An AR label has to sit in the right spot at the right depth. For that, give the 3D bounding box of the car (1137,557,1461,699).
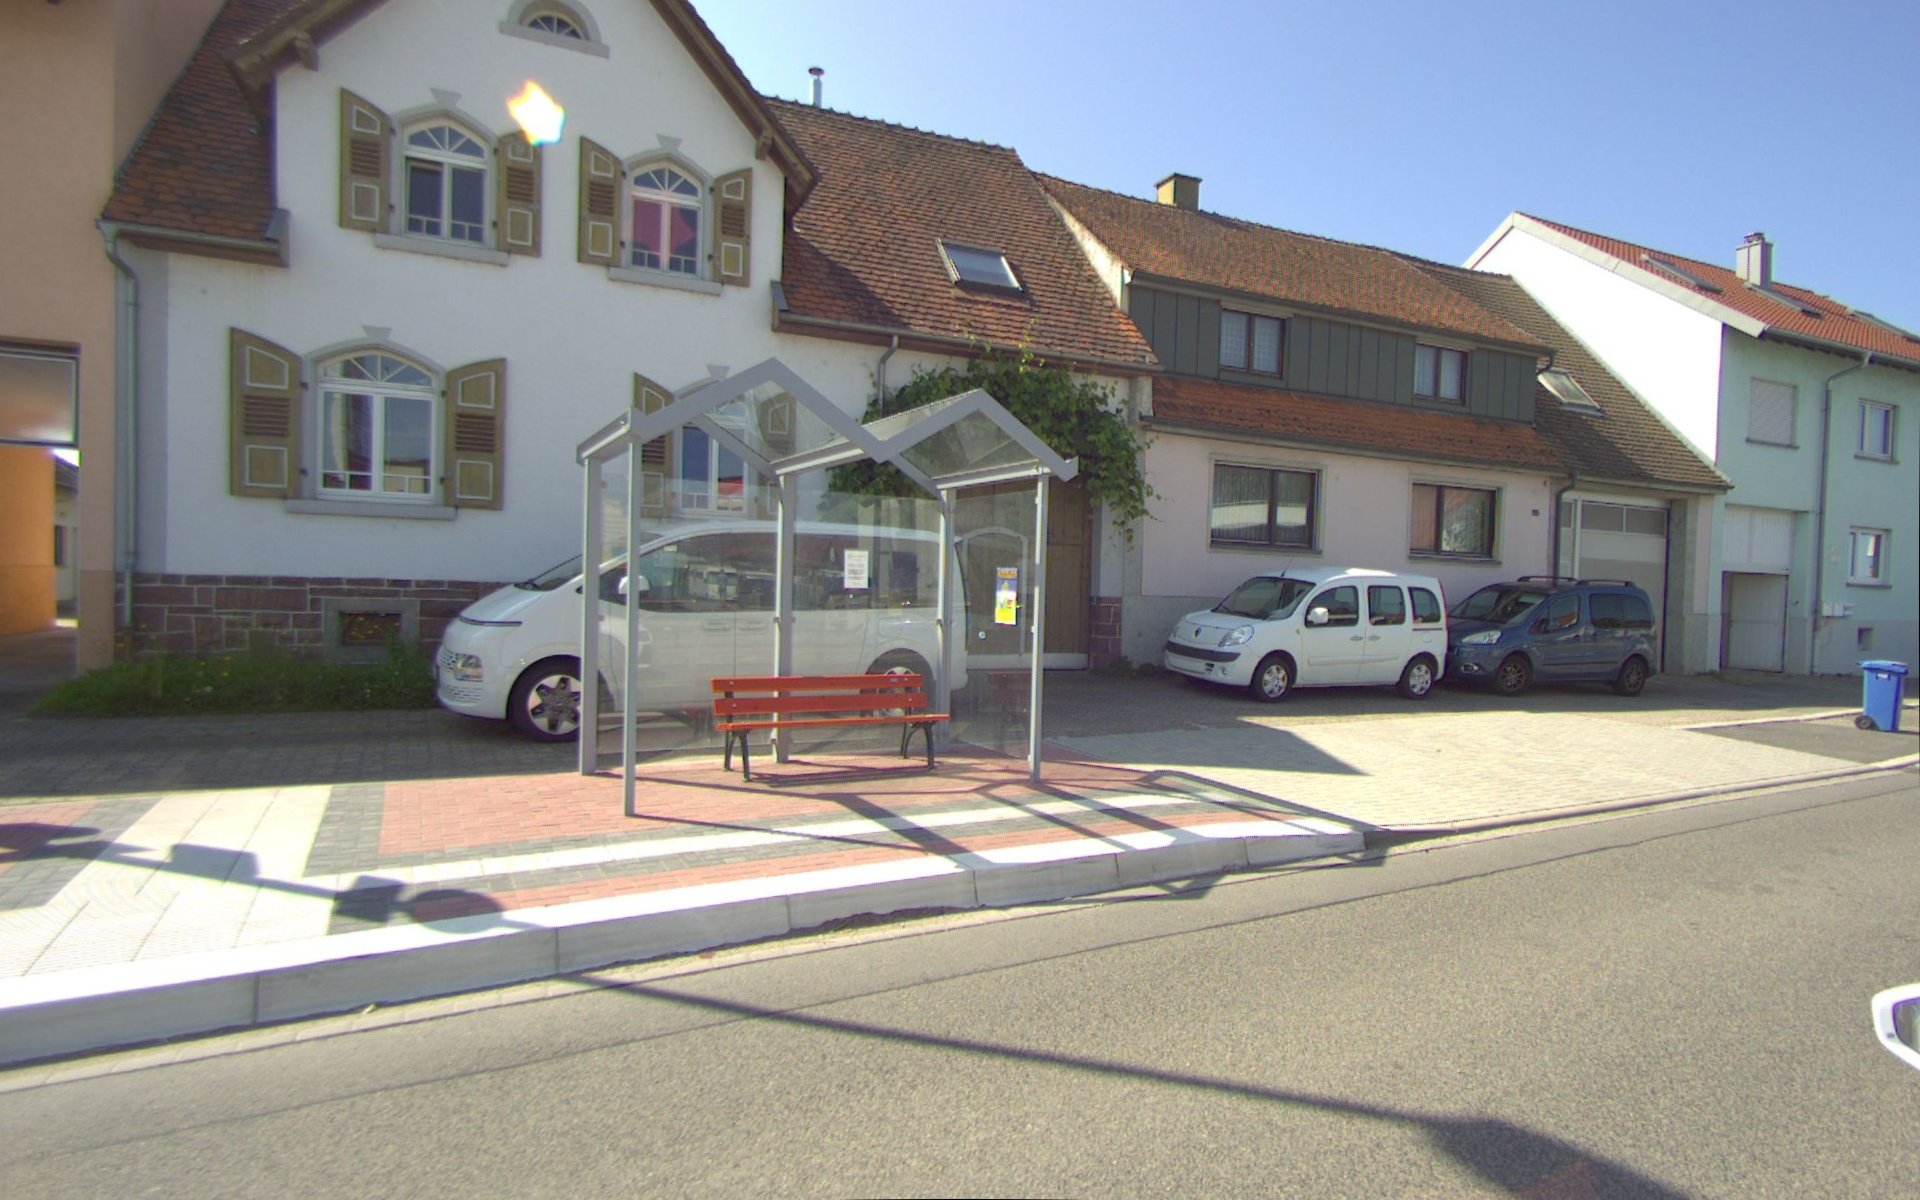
[{"bbox_3d":[4.900,0.404,14.529,4.218,1.798,1.962,2,1,-25],"label":"car"}]

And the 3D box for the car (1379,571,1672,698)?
[{"bbox_3d":[9.281,0.544,16.517,4.279,1.817,1.833,2,3,-22],"label":"car"}]

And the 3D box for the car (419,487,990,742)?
[{"bbox_3d":[-2.474,0.163,10.166,5.204,2.013,2.115,2,1,-31],"label":"car"}]

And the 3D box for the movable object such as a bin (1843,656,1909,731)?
[{"bbox_3d":[12.592,1.272,13.806,0.510,0.949,0.553,1,3,-39],"label":"movable object such as a bin"}]
